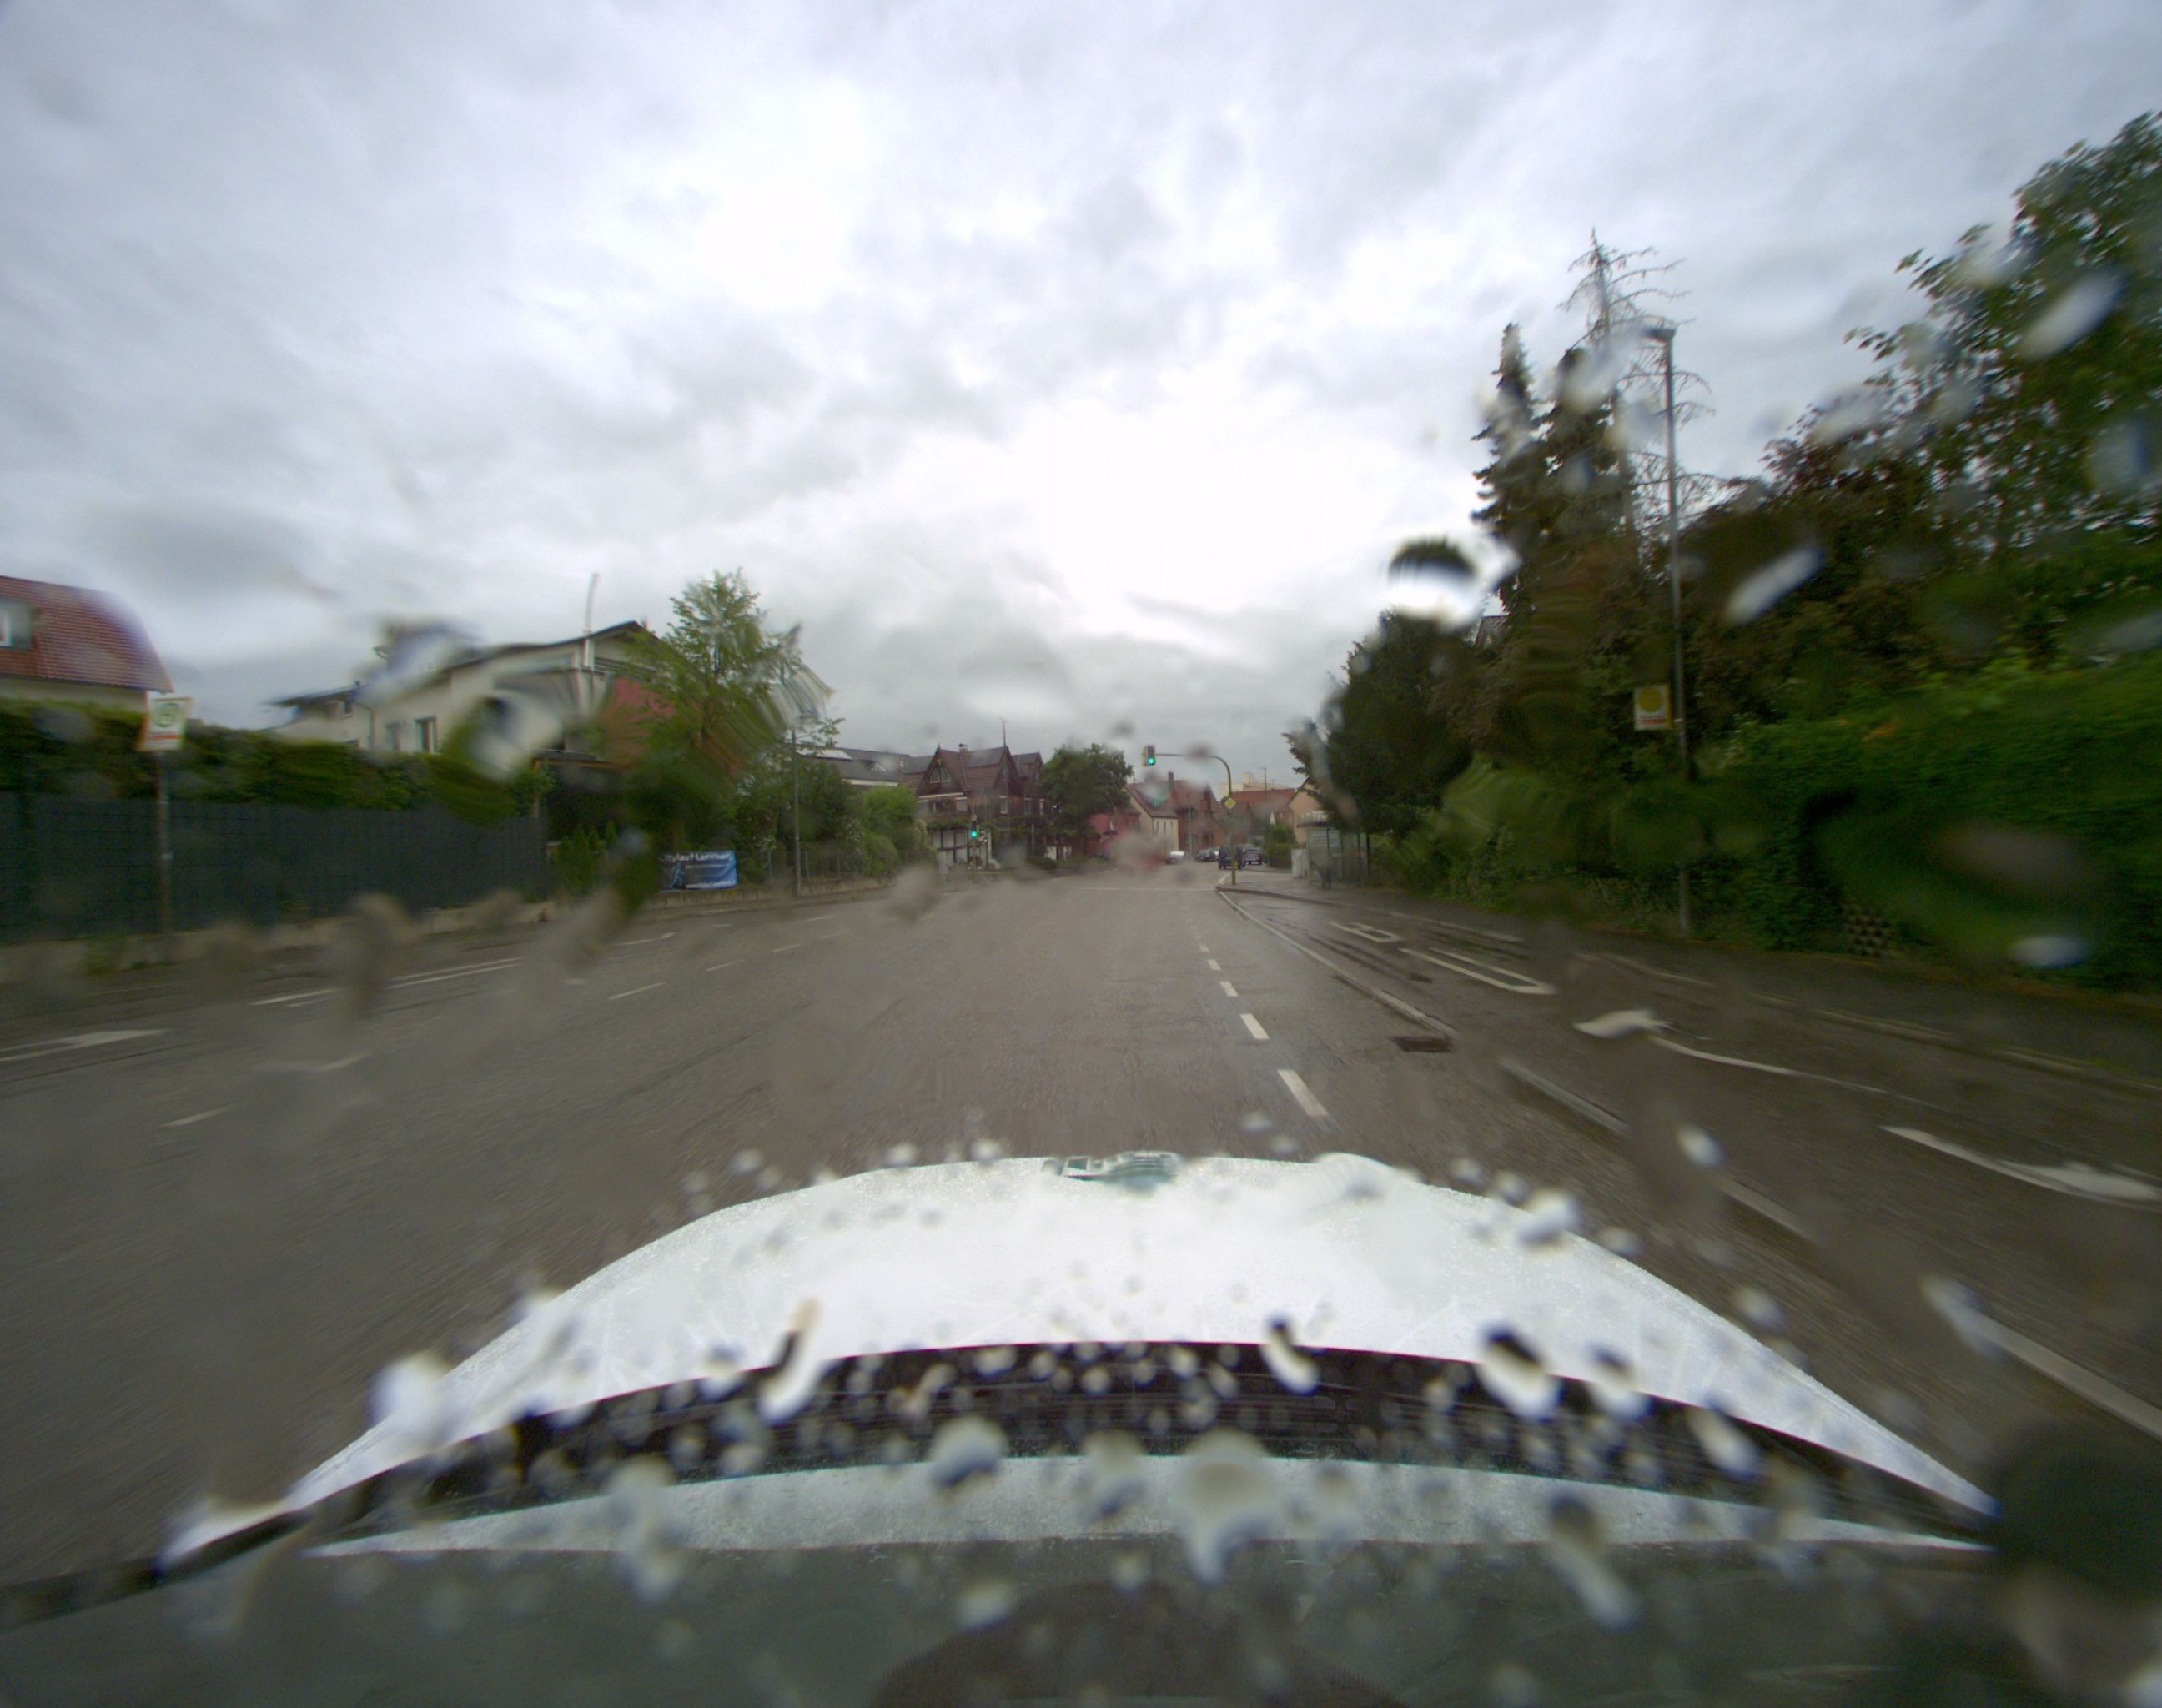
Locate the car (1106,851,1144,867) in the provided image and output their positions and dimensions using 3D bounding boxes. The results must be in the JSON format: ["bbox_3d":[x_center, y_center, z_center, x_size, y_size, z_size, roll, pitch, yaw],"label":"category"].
[{"bbox_3d":[4.385,0.529,81.524,3.429,1.479,1.600,-2,-1,25],"label":"car"}]

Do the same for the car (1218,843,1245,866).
[{"bbox_3d":[12.714,0.043,68.741,1.916,1.902,4.812,0,0,15],"label":"car"}]

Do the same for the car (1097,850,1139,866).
[{"bbox_3d":[3.612,0.370,79.334,3.542,1.506,1.867,1,1,27],"label":"car"}]

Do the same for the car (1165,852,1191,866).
[{"bbox_3d":[10.133,0.518,84.626,1.612,1.355,4.133,0,1,23],"label":"car"}]

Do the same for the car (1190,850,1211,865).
[{"bbox_3d":[13.877,0.402,94.417,1.591,1.617,3.295,-2,0,24],"label":"car"}]

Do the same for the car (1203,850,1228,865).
[{"bbox_3d":[16.332,0.408,98.757,1.748,1.619,4.682,-2,0,24],"label":"car"}]

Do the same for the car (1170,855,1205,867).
[{"bbox_3d":[13.923,0.935,106.307,4.132,1.403,1.800,-2,-1,31],"label":"car"}]

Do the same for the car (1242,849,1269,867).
[{"bbox_3d":[17.901,0.384,83.389,1.891,1.717,4.581,0,1,24],"label":"car"}]

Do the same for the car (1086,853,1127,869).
[{"bbox_3d":[2.436,0.694,77.094,3.414,1.418,1.642,-2,-1,25],"label":"car"}]
